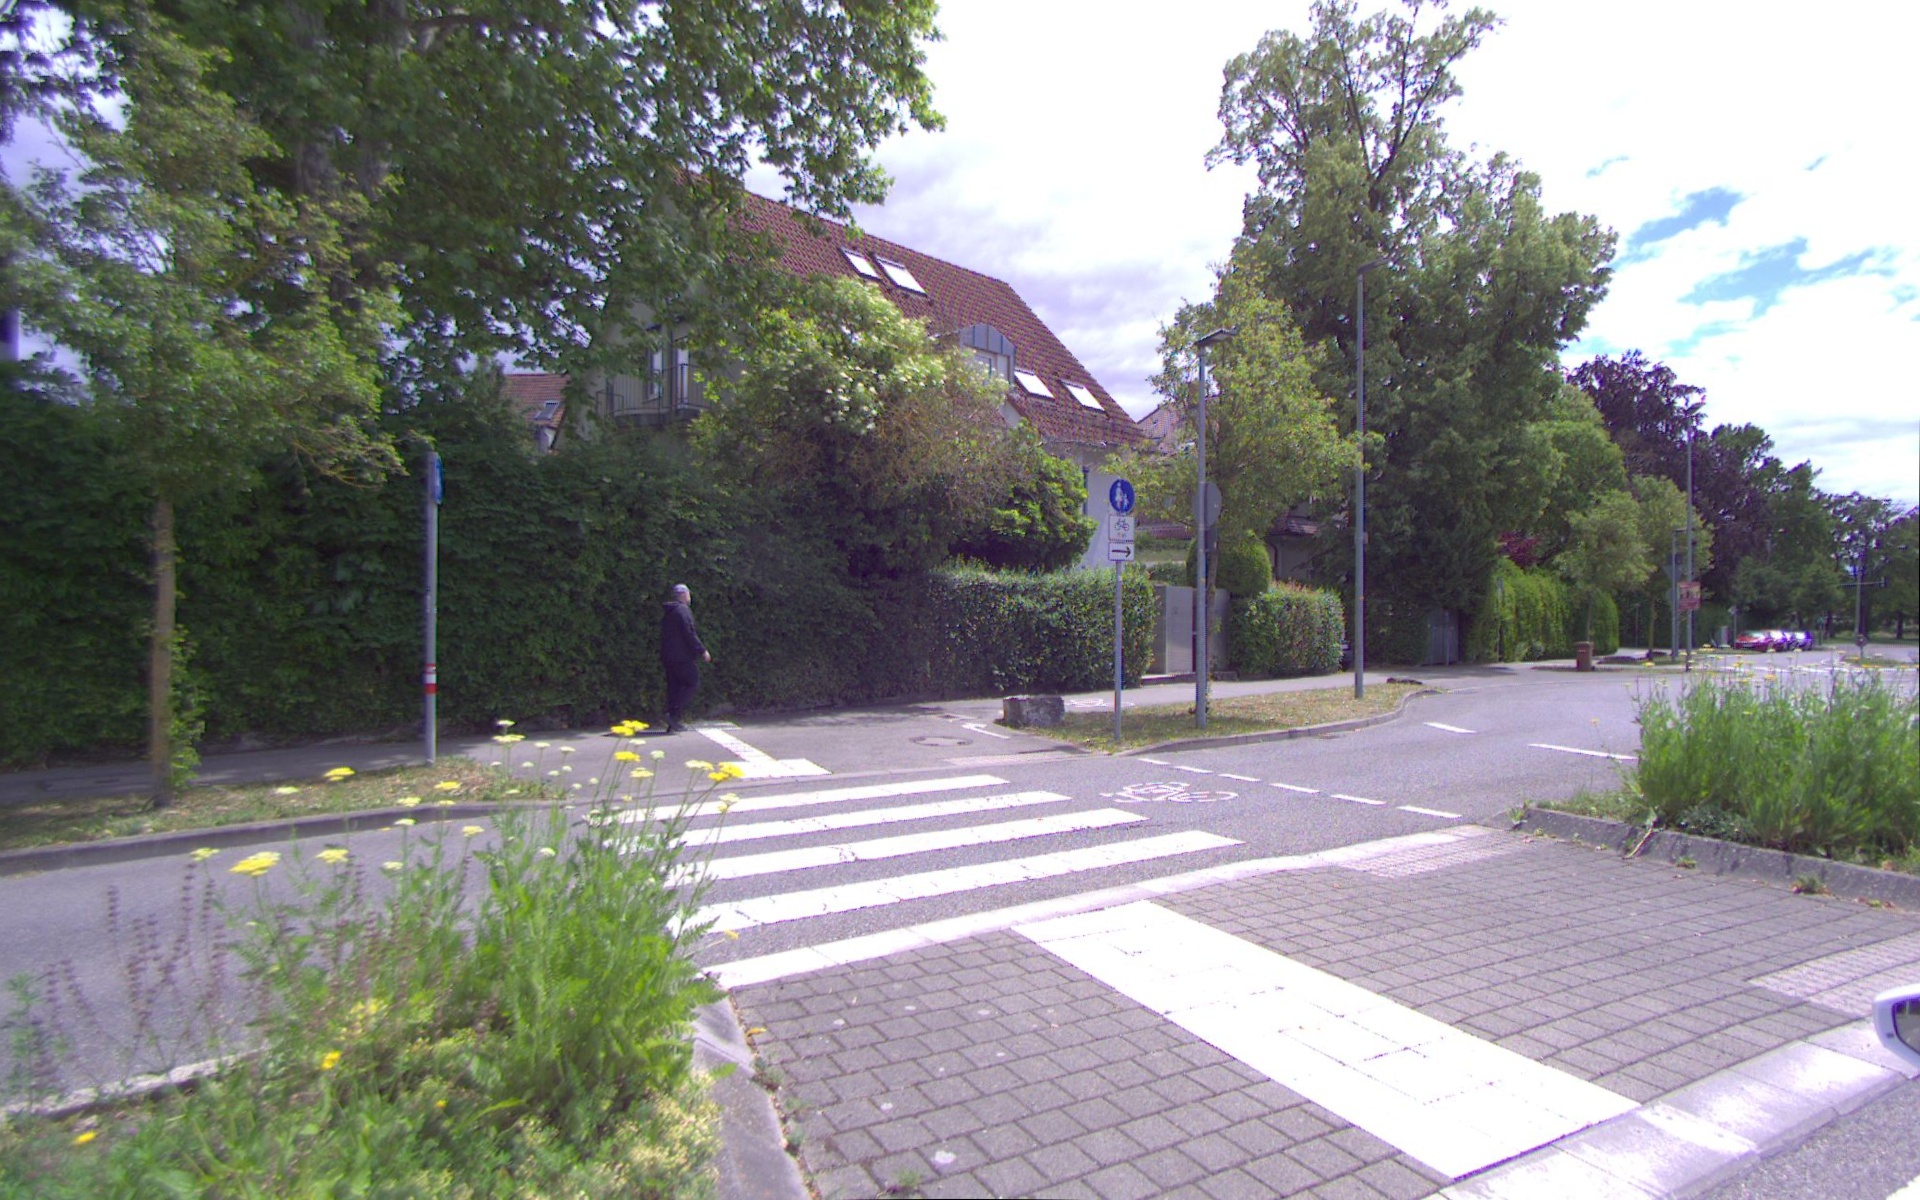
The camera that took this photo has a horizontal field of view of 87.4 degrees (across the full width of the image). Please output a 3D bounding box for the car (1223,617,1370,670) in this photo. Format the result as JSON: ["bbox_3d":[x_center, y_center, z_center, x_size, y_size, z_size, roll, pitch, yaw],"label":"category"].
[{"bbox_3d":[10.277,1.313,30.923,1.978,1.505,3.966,0,-2,-32],"label":"car"}]

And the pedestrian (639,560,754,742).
[{"bbox_3d":[-3.138,0.589,11.992,0.862,2.040,1.035,-1,-1,41],"label":"pedestrian"}]

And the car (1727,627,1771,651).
[{"bbox_3d":[51.774,2.550,65.973,2.036,1.405,4.033,0,0,36],"label":"car"}]

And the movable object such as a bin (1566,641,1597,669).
[{"bbox_3d":[19.602,1.733,31.696,0.633,0.874,0.626,1,-2,-34],"label":"movable object such as a bin"}]
